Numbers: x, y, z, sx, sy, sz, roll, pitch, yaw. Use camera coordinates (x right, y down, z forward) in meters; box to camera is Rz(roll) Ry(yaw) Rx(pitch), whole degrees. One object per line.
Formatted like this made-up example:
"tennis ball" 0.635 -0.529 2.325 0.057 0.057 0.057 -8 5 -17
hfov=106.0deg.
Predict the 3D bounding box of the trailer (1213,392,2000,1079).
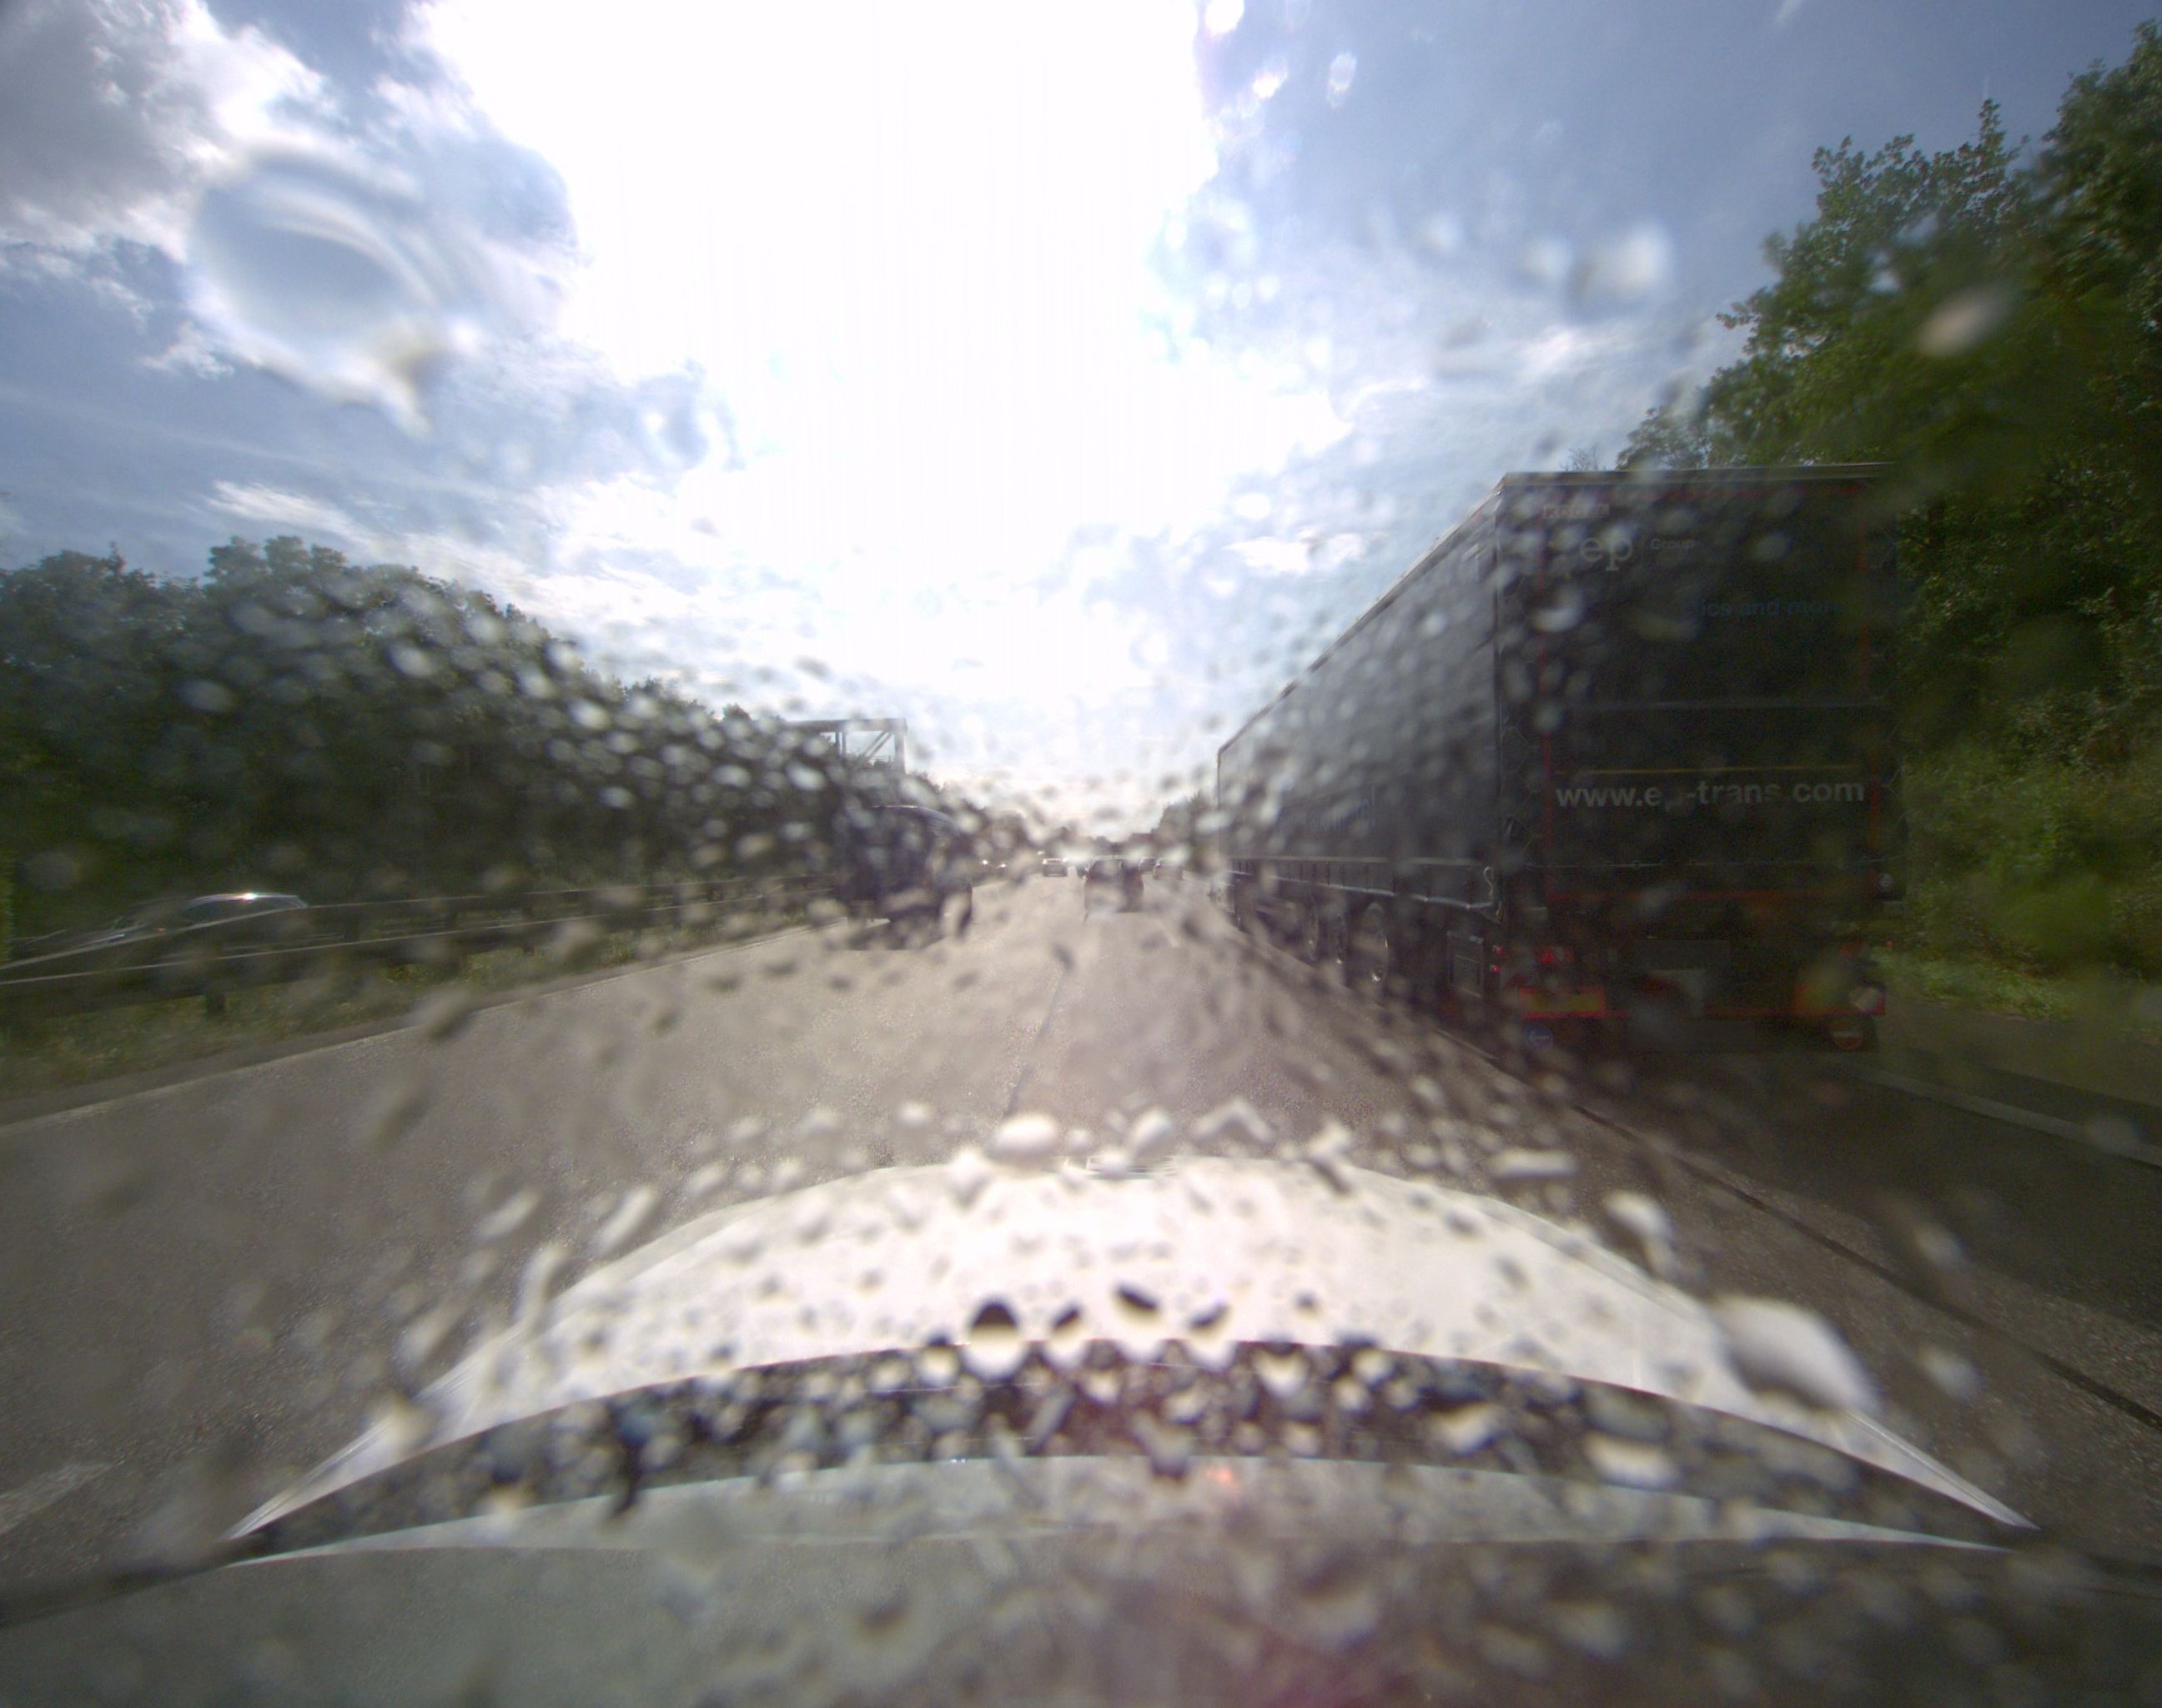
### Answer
"trailer" 4.465 -0.724 12.227 3.076 4.312 14.111 -1 0 2

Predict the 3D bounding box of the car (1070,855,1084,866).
"car" -0.597 1.012 123.669 1.886 1.628 4.195 -1 0 1

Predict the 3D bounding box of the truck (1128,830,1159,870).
"truck" 7.169 -0.461 94.937 3.190 4.404 9.435 -1 0 2

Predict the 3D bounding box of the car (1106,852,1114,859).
"car" 6.424 0.343 179.177 1.626 1.490 3.437 -1 0 1

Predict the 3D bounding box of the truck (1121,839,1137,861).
"truck" 10.372 -0.763 175.968 2.871 4.687 12.661 -1 -1 1

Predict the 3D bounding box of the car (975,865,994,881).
"car" -13.379 2.614 113.119 1.986 2.014 4.734 -1 -1 1

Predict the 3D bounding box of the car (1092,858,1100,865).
"car" 3.173 1.619 176.745 1.669 1.490 3.437 -1 0 1

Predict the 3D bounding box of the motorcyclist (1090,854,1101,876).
"motorcyclist" 1.185 0.885 66.859 0.819 1.761 1.388 -1 -1 -3

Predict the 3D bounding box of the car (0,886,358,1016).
"car" -17.374 1.731 16.031 1.986 2.014 4.734 -1 -1 1

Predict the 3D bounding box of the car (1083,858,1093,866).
"car" 1.320 1.464 150.921 1.669 1.597 3.437 -1 0 1

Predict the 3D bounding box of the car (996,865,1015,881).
"car" -9.867 2.512 106.887 1.986 2.014 4.734 -1 -1 1

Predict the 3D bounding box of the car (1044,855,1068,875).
"car" -2.083 0.867 67.936 1.752 1.595 4.331 -1 0 1

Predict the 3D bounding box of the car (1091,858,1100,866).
"car" 3.456 1.971 196.646 1.986 2.014 4.000 -1 -1 1

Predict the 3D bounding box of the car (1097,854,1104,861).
"car" 5.861 0.925 241.845 1.986 2.014 4.000 -1 -1 1

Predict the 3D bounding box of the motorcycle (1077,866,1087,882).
"motorcycle" 0.080 1.410 58.757 0.674 1.087 1.980 0 0 -2

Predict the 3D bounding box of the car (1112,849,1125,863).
"car" 5.319 0.341 116.115 1.669 1.936 3.774 -1 0 1

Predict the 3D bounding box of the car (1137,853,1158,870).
"car" 6.097 0.701 74.604 1.669 1.490 3.437 -1 0 1

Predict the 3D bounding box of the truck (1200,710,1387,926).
"truck" 4.725 -0.708 19.413 3.041 4.325 5.888 -1 -1 2

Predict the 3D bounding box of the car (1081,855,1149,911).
"car" 1.000 0.823 25.310 1.908 1.565 4.314 -1 0 1

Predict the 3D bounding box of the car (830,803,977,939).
"car" -3.870 0.343 18.941 2.008 2.648 5.777 -1 0 1

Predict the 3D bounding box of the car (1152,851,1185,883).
"car" 5.731 0.844 53.954 1.842 2.014 4.088 -1 -1 2

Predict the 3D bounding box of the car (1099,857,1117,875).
"car" 3.057 1.322 93.021 1.987 2.014 4.000 -1 -1 1

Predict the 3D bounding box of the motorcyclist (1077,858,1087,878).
"motorcyclist" 0.080 1.006 58.716 0.668 1.442 1.019 -1 -1 -2

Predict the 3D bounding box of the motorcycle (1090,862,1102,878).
"motorcycle" 1.191 1.269 66.830 0.818 1.263 2.115 -1 0 -4
